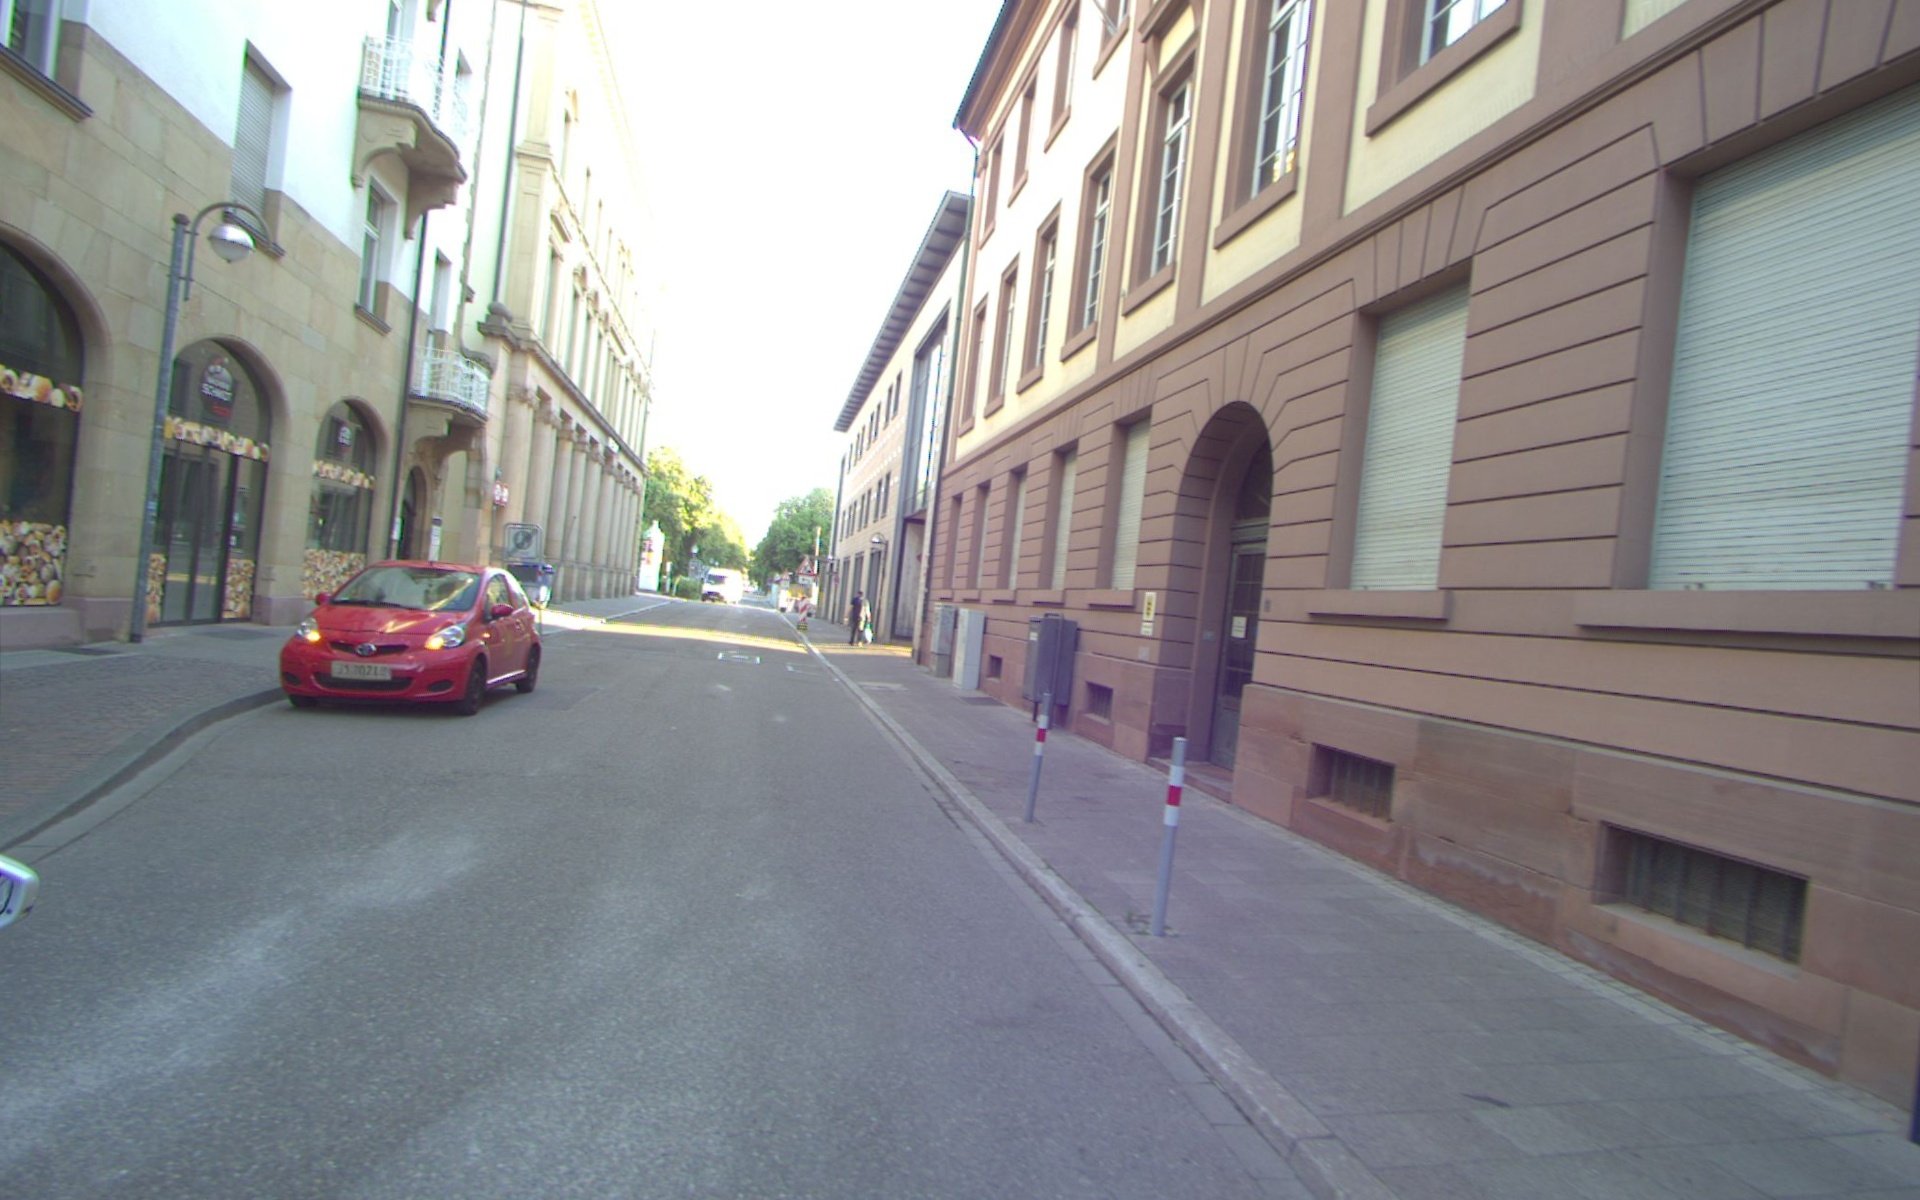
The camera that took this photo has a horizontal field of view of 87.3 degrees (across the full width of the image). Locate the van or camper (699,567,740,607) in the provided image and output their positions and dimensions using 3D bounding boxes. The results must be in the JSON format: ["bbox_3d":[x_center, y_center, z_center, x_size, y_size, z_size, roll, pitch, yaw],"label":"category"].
[{"bbox_3d":[-17.596,-0.940,73.899,2.189,2.616,6.361,7,0,-9],"label":"van or camper"}]

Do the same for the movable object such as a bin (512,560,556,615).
[{"bbox_3d":[-12.754,-0.381,30.170,0.818,1.521,1.288,7,0,-11],"label":"movable object such as a bin"}]

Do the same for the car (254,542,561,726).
[{"bbox_3d":[-5.542,0.294,10.662,1.634,1.488,3.924,4,0,-11],"label":"car"}]

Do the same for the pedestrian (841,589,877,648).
[{"bbox_3d":[-3.244,0.599,32.266,0.987,1.826,0.880,2,1,-13],"label":"pedestrian"}]
